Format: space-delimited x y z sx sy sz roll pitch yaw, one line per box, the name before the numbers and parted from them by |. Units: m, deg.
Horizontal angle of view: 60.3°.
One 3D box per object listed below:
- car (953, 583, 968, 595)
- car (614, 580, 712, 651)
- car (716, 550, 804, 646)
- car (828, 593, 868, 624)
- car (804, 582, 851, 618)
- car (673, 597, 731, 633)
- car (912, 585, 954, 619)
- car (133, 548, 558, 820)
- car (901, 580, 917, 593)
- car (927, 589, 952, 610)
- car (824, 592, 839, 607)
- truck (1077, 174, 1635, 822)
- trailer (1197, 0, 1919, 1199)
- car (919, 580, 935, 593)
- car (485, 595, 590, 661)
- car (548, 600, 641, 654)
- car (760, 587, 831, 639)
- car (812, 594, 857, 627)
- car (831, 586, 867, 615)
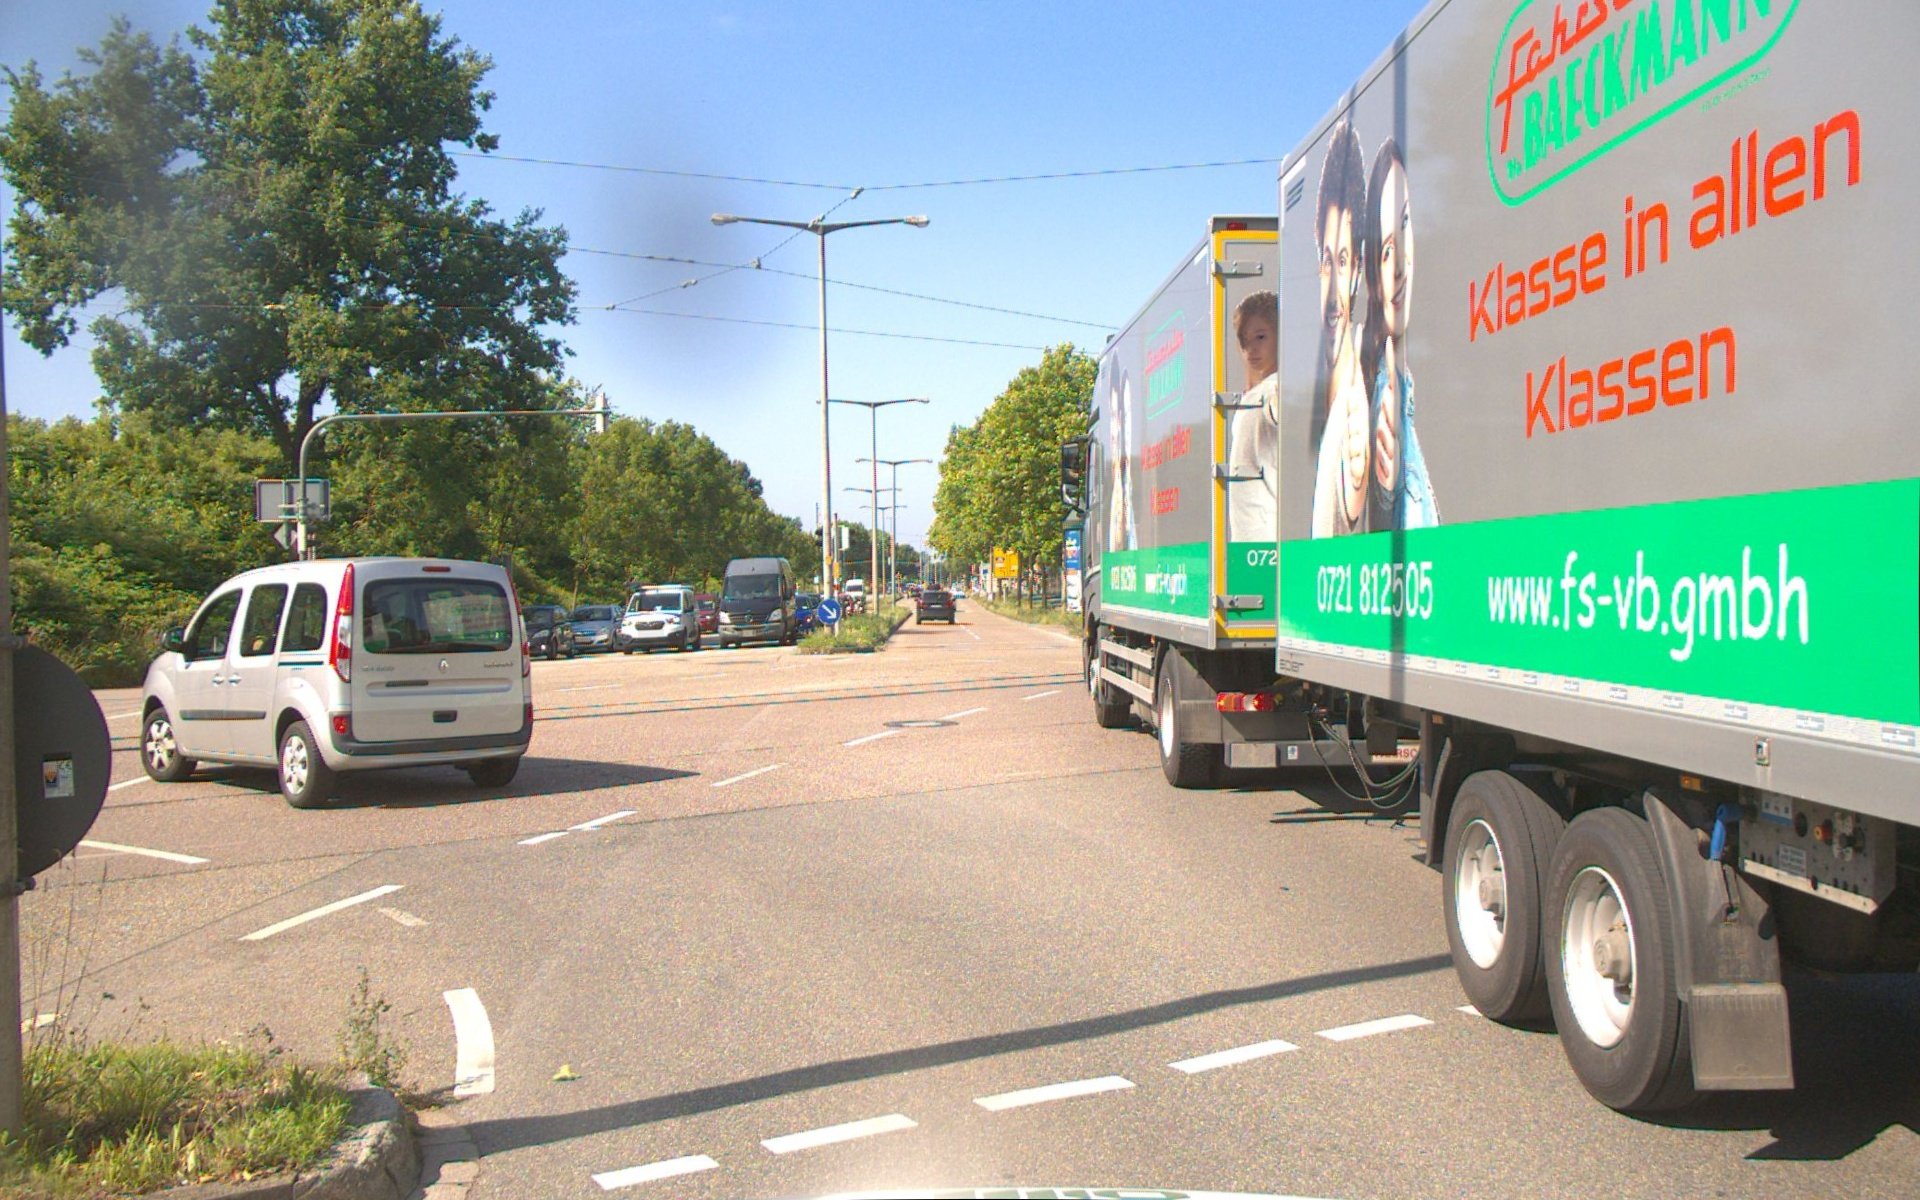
car | 0.027 -1.466 222.004 1.953 1.613 4.456 0 0 0
car | -8.594 0.443 48.242 1.953 1.902 4.773 -2 0 0
car | -5.892 -0.061 49.341 1.953 2.653 5.133 -2 0 0
car | -6.234 0.455 92.399 1.953 1.668 3.999 0 0 -1
car | -6.347 -0.012 79.556 1.953 1.668 3.999 0 0 -1
car | -11.884 0.667 76.467 1.953 1.613 4.456 0 0 0
car | -1.306 0.078 81.570 1.953 1.613 4.456 0 0 0
car | -5.083 0.576 13.411 1.779 1.870 3.934 1 0 -45
car | -6.572 -1.788 213.208 1.953 1.613 4.456 0 0 0
car | -1.619 -0.031 133.902 1.953 1.613 4.456 0 0 0
car | -18.217 -0.071 234.102 1.850 2.049 3.999 0 0 -1
truck | 2.753 -0.629 14.551 2.674 3.957 8.721 -1 0 -1
trailer | 2.910 -0.580 6.279 2.681 3.944 7.733 -1 0 -1
car | -4.288 -1.777 213.607 1.953 1.613 4.456 0 0 0
car | -11.439 0.732 44.983 1.872 1.670 3.737 -2 0 0
car | -11.396 0.809 51.857 1.953 1.567 4.235 -2 0 0
car | -5.602 0.437 56.739 1.953 1.612 4.000 -2 0 0
car | -6.355 0.529 83.911 1.953 1.613 4.000 0 0 0
car | -6.662 0.029 99.633 1.953 1.668 3.999 0 0 -1
